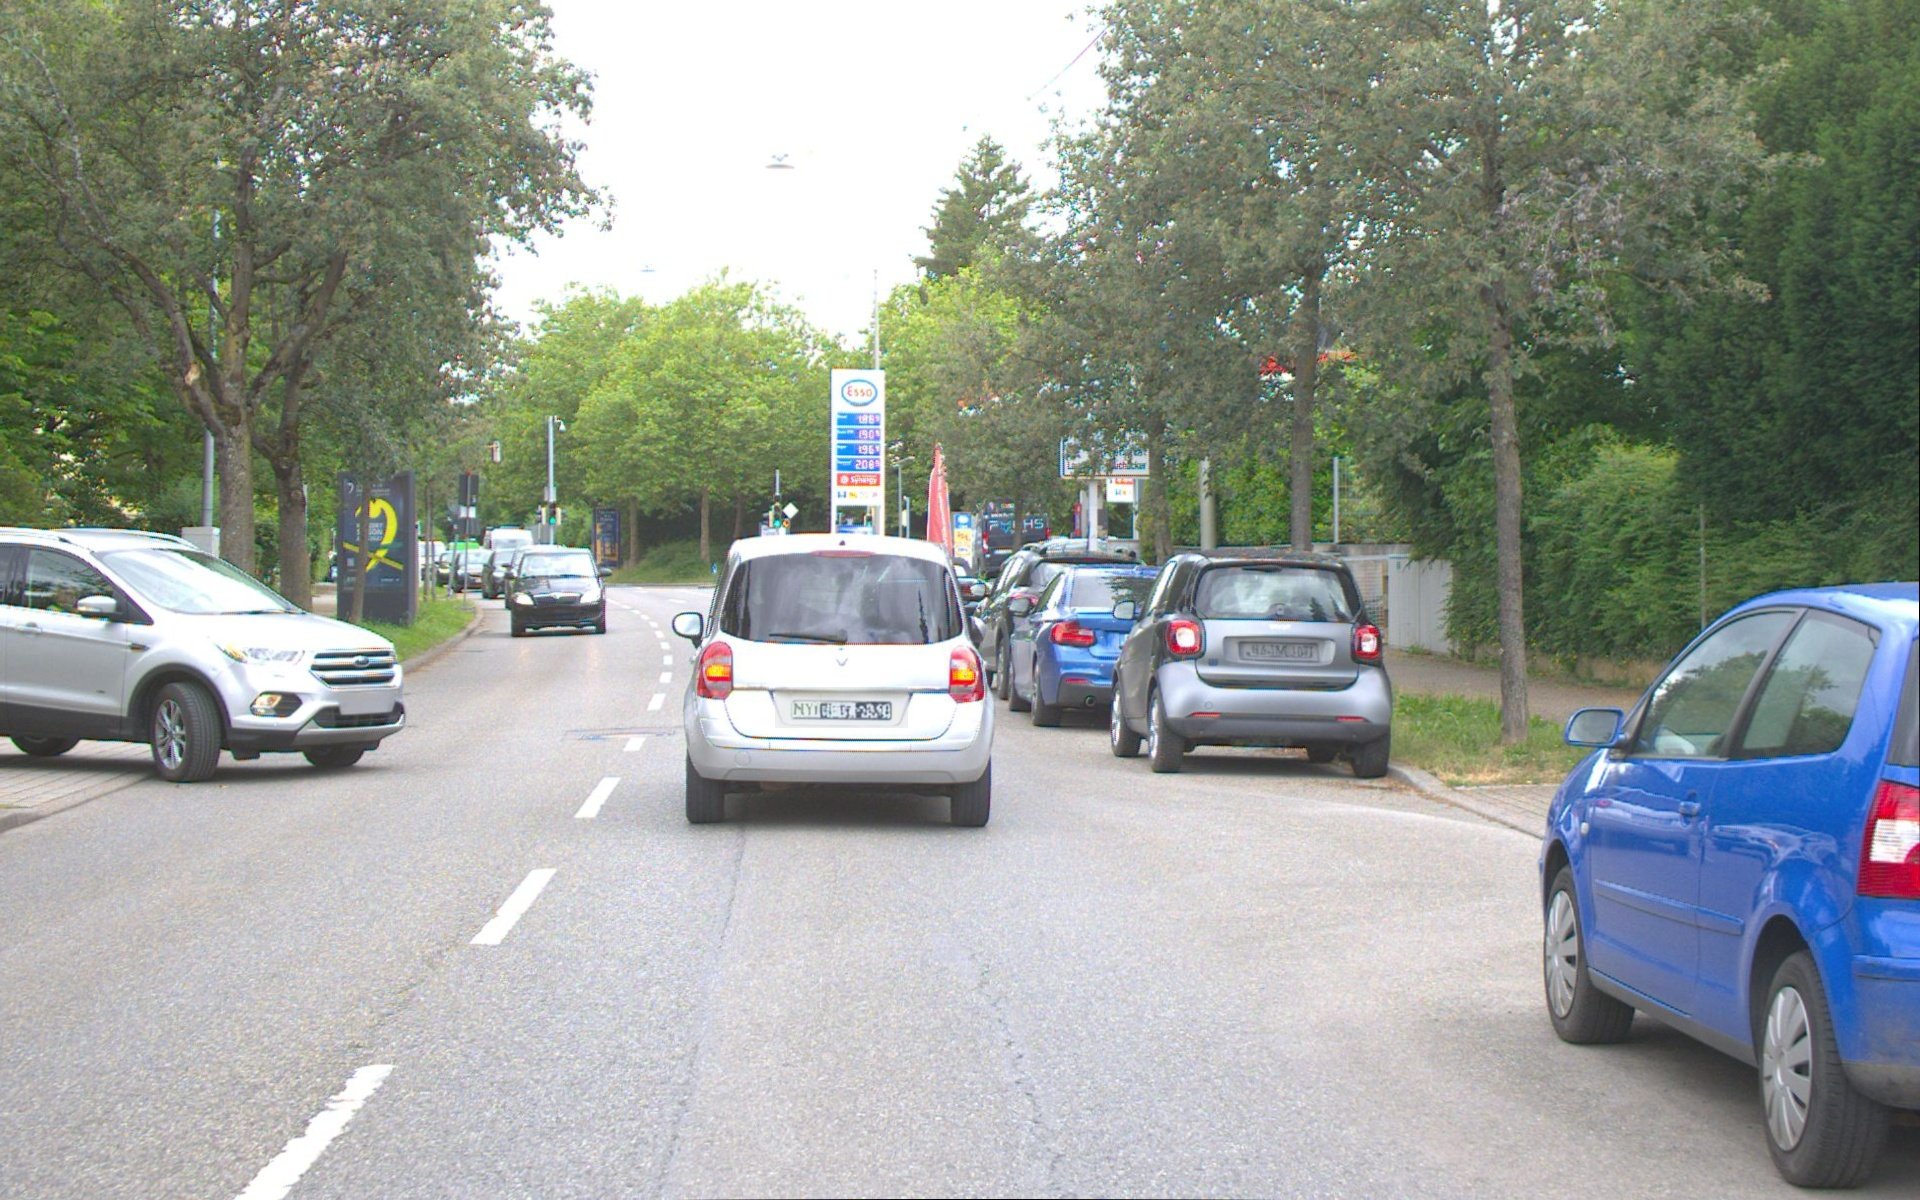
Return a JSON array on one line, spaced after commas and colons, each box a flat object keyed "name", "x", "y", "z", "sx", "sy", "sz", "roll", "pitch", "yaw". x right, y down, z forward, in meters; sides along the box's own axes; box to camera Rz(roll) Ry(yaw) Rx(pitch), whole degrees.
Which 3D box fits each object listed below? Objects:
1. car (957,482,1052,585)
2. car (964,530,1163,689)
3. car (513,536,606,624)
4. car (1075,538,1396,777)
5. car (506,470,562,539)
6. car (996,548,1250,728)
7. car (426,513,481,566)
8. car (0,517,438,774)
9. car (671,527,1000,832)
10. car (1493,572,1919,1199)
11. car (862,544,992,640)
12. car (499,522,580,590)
[{"name": "car", "x": 1.274, "y": -1.953, "z": 101.645, "sx": 2.281, "sy": 2.901, "sz": 5.280, "roll": 2, "pitch": 1, "yaw": -4}, {"name": "car", "x": 1.022, "y": 0.051, "z": 35.825, "sx": 1.695, "sy": 1.565, "sz": 3.956, "roll": 0, "pitch": 1, "yaw": -4}, {"name": "car", "x": -6.987, "y": -0.361, "z": 60.000, "sx": 1.544, "sy": 1.465, "sz": 3.743, "roll": -1, "pitch": 1, "yaw": -6}, {"name": "car", "x": 1.927, "y": 0.358, "z": 25.154, "sx": 1.695, "sy": 1.552, "sz": 3.956, "roll": 2, "pitch": 1, "yaw": -4}, {"name": "car", "x": -15.298, "y": -3.423, "z": 123.543, "sx": 1.934, "sy": 2.400, "sz": 4.001, "roll": 0, "pitch": 1, "yaw": -6}, {"name": "car", "x": 1.372, "y": 0.279, "z": 30.533, "sx": 1.696, "sy": 1.428, "sz": 4.341, "roll": 1, "pitch": 1, "yaw": -4}, {"name": "car", "x": -19.635, "y": -2.351, "z": 133.389, "sx": 1.934, "sy": 2.007, "sz": 4.001, "roll": 0, "pitch": 1, "yaw": -6}, {"name": "car", "x": -5.909, "y": 0.267, "z": 24.395, "sx": 4.092, "sy": 1.700, "sz": 1.745, "roll": 1, "pitch": 1, "yaw": 26}, {"name": "car", "x": -0.710, "y": 0.381, "z": 19.590, "sx": 1.679, "sy": 1.554, "sz": 3.512, "roll": 1, "pitch": 1, "yaw": -2}, {"name": "car", "x": 2.699, "y": 0.694, "z": 9.563, "sx": 1.626, "sy": 1.447, "sz": 3.876, "roll": 2, "pitch": 1, "yaw": -2}, {"name": "car", "x": -0.572, "y": -0.157, "z": 56.339, "sx": 1.695, "sy": 1.501, "sz": 3.973, "roll": 0, "pitch": 1, "yaw": -7}, {"name": "car", "x": -10.176, "y": -1.083, "z": 83.420, "sx": 1.793, "sy": 1.550, "sz": 3.673, "roll": -2, "pitch": 1, "yaw": -5}]
